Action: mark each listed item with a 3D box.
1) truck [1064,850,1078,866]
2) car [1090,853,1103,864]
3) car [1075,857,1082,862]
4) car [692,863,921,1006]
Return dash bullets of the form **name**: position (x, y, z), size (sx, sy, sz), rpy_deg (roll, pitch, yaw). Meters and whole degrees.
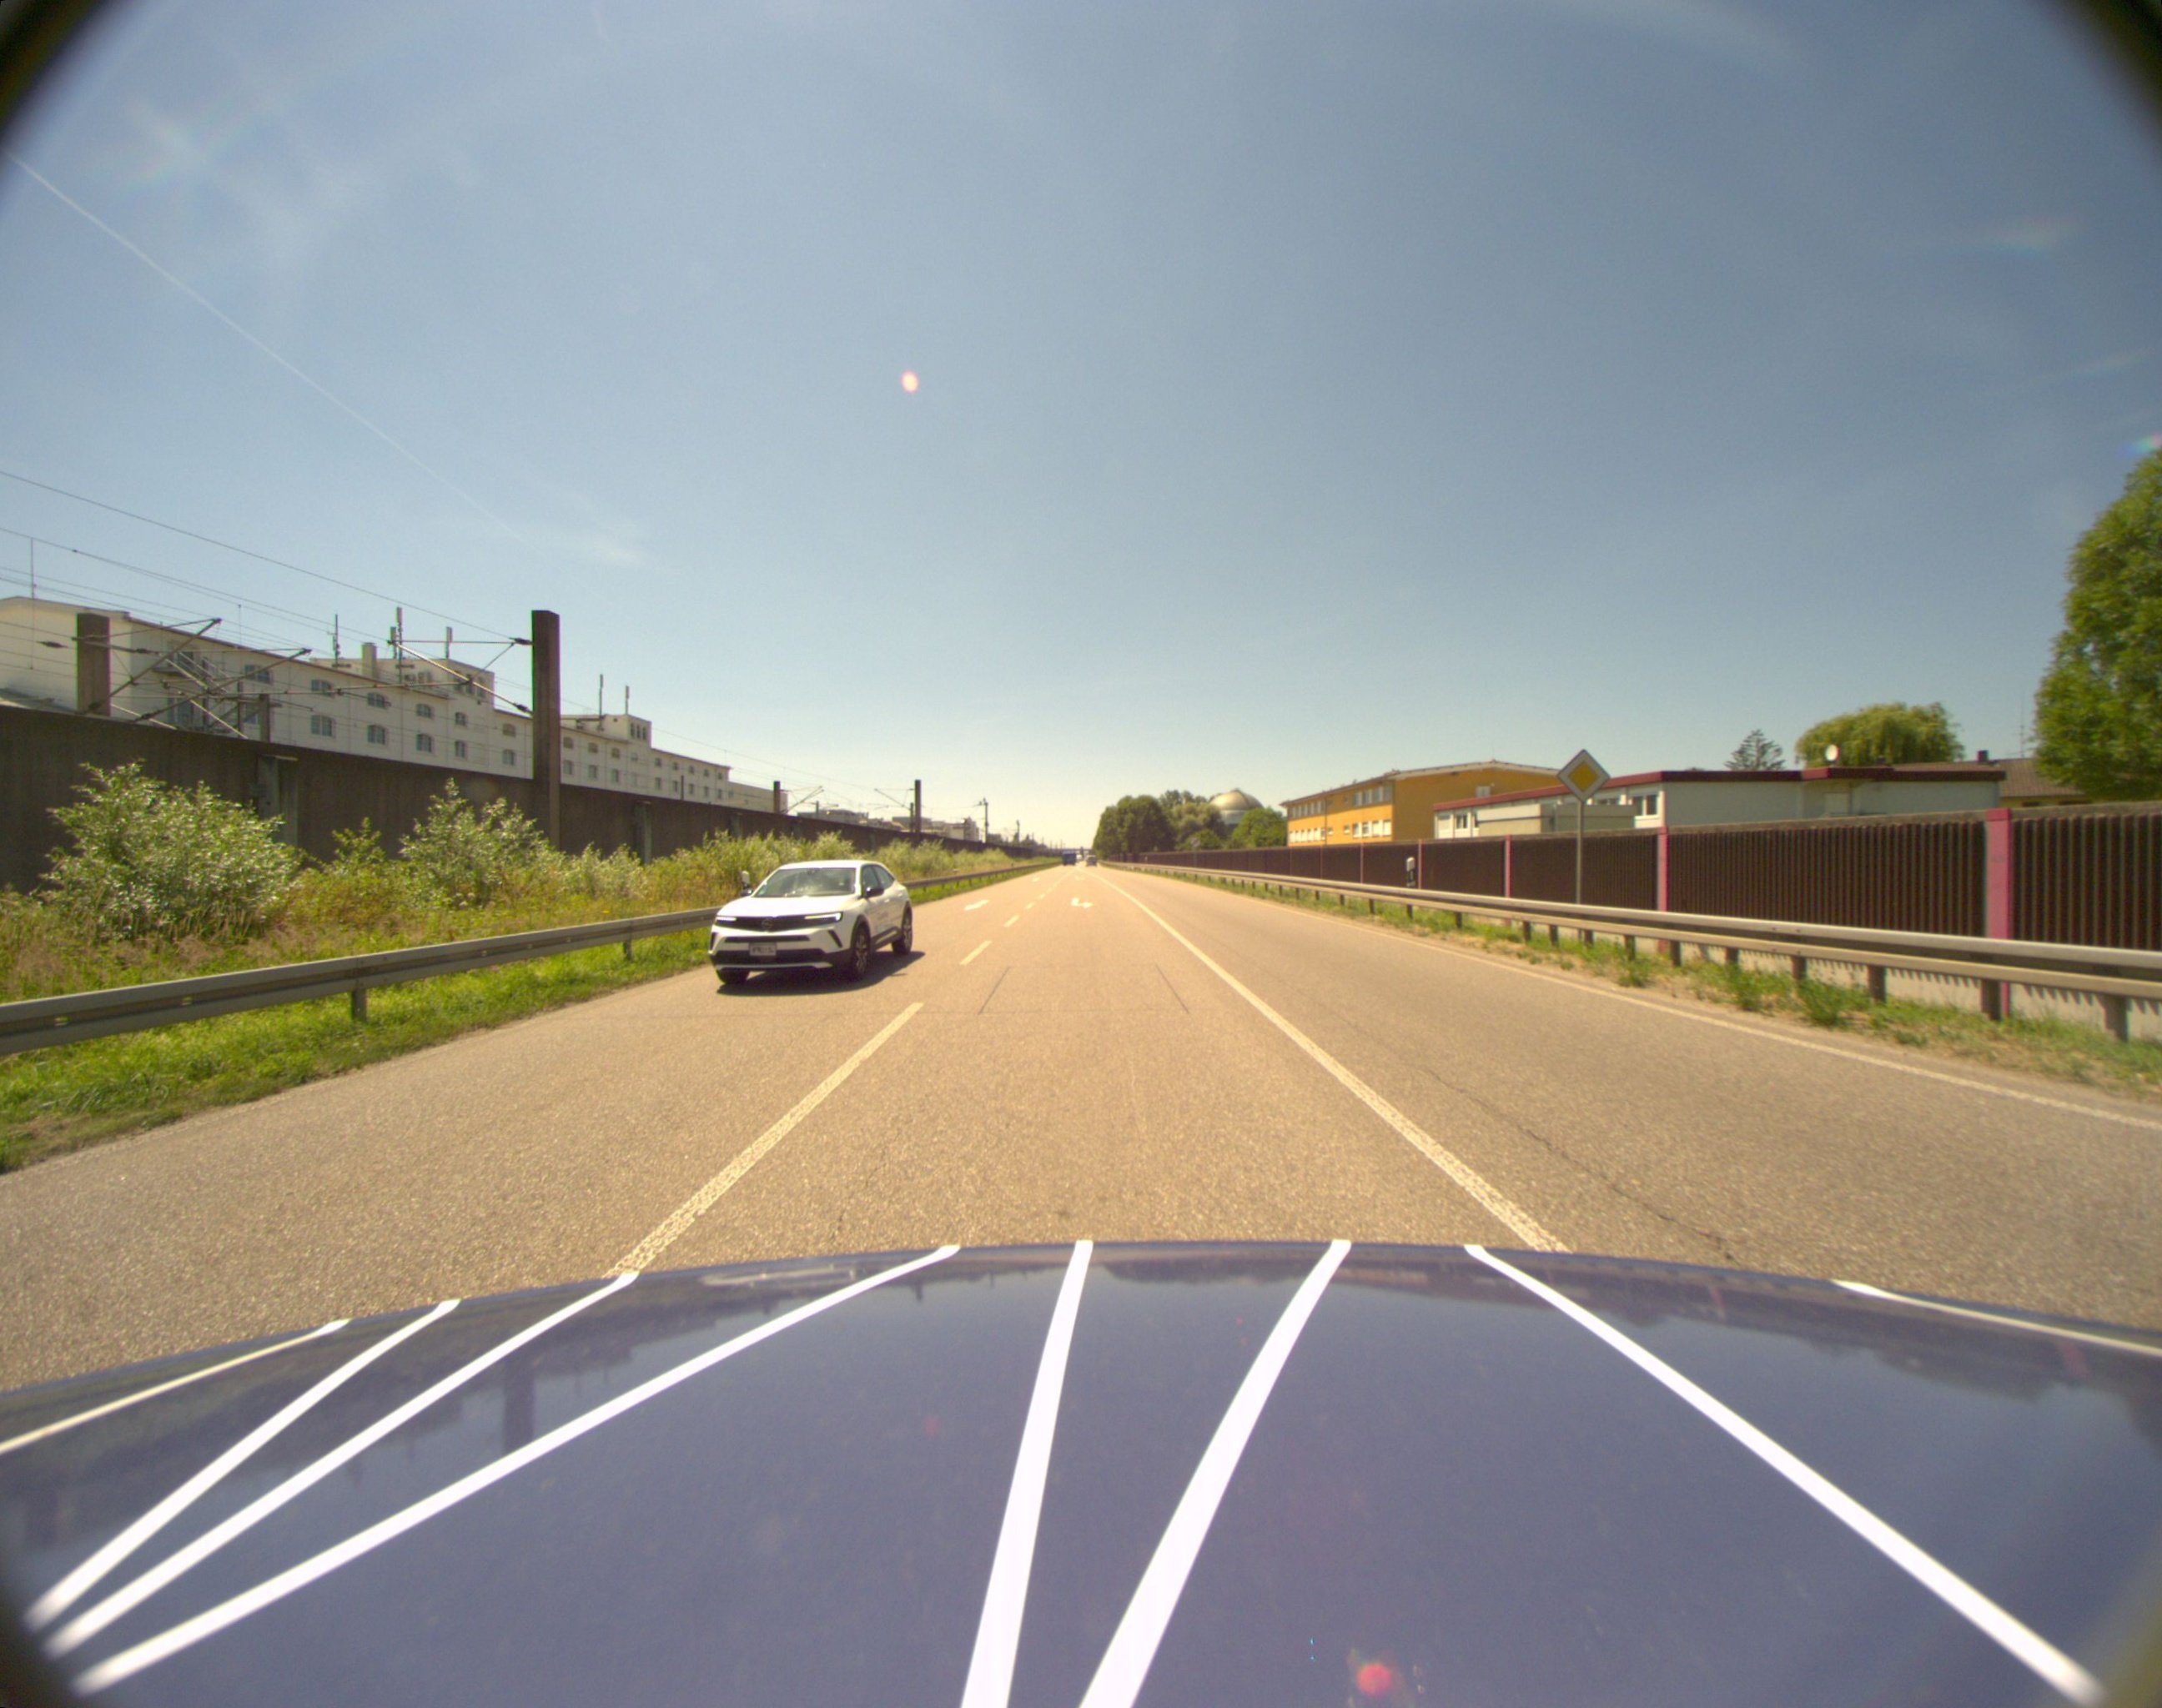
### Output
- **truck**: position (-1.857, 0.723, 149.876), size (2.617, 3.024, 10.654), rpy_deg (-1, 0, 0)
- **car**: position (2.513, 0.658, 125.662), size (1.892, 1.730, 4.775), rpy_deg (-1, 0, -1)
- **car**: position (-0.709, 1.511, 219.122), size (1.730, 1.464, 3.889), rpy_deg (-1, 0, -1)
- **car**: position (-3.626, 0.954, 10.946), size (1.823, 1.554, 4.277), rpy_deg (-1, 0, -2)
